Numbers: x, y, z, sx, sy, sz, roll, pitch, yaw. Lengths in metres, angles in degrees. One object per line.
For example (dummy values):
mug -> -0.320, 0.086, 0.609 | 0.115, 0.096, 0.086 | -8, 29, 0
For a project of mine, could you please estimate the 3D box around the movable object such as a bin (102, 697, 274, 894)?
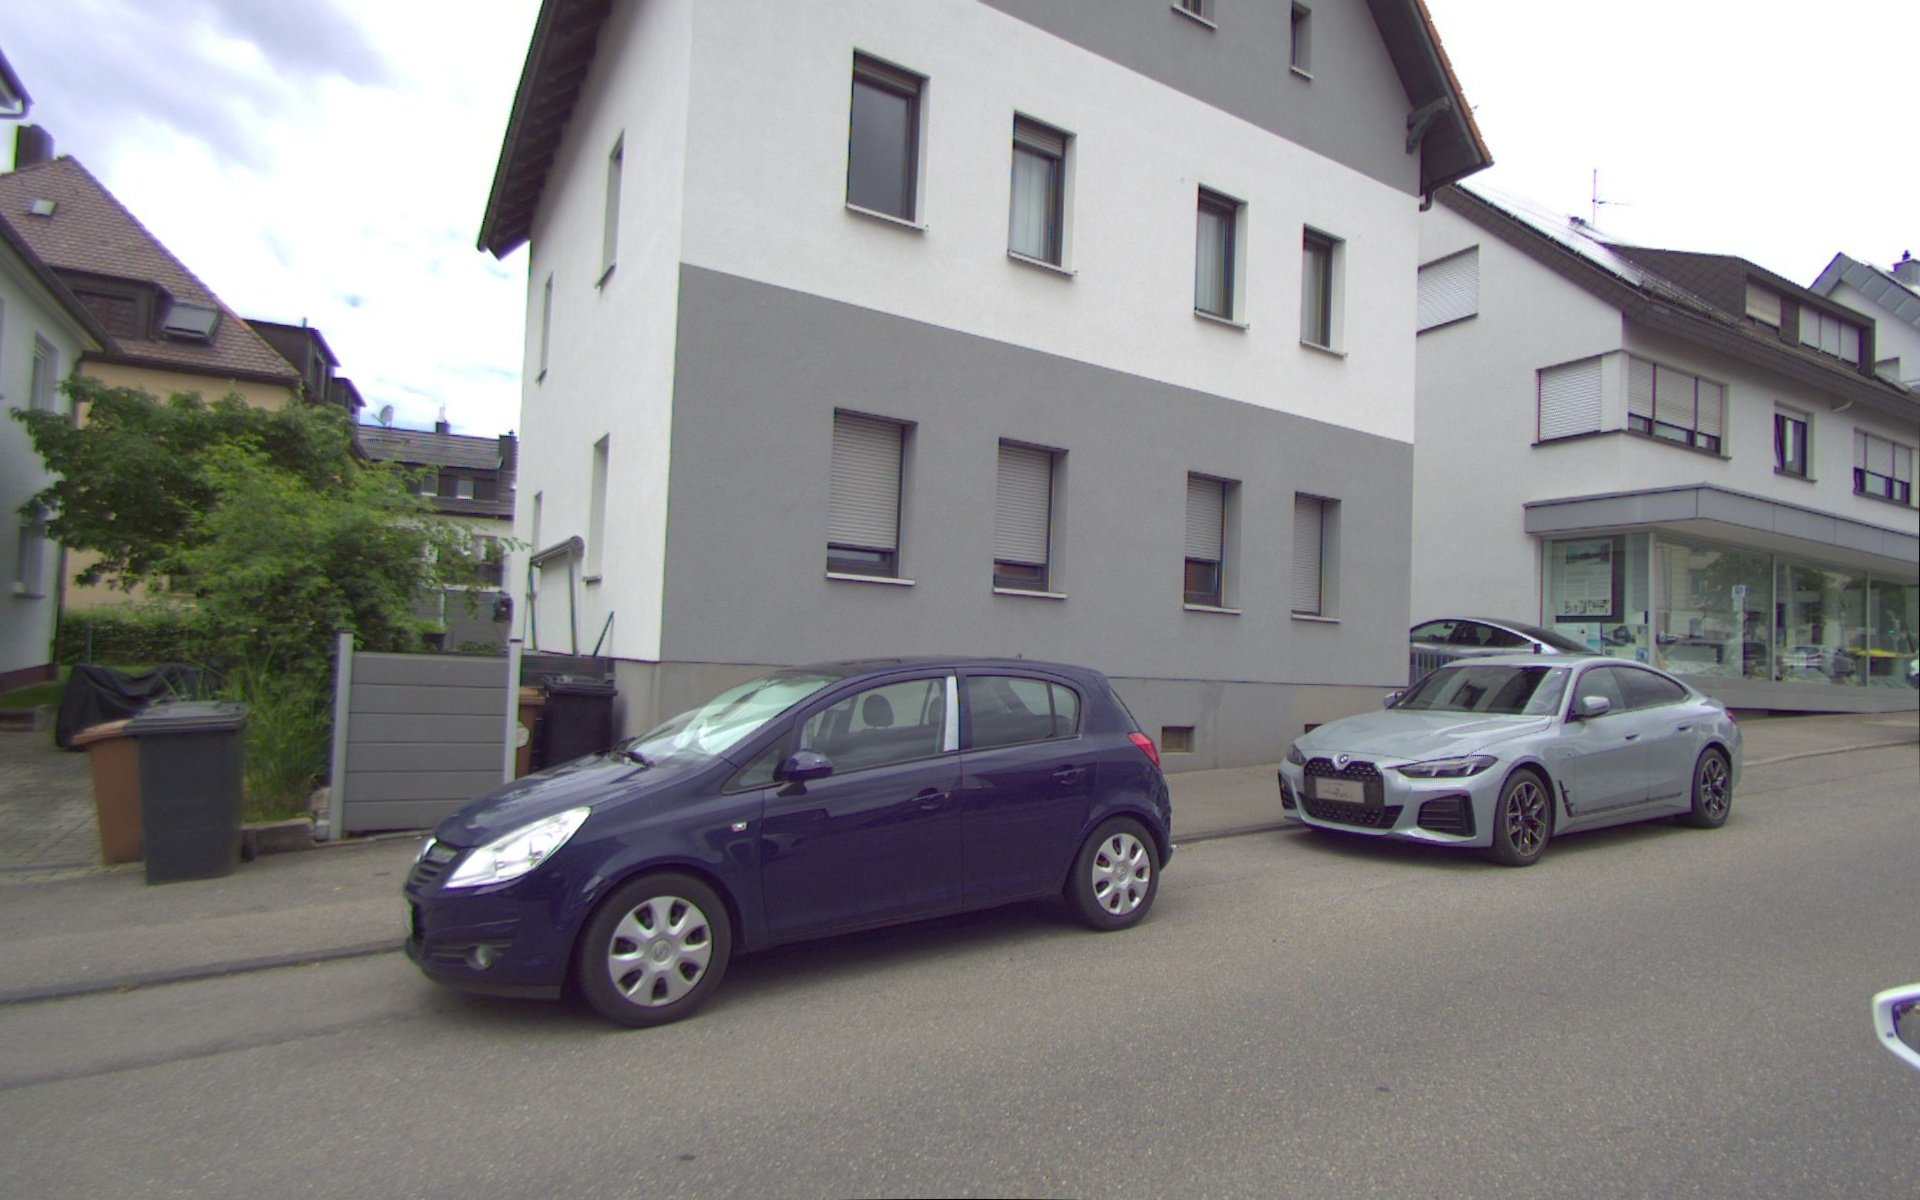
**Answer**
movable object such as a bin -> -4.799, 1.180, 6.299 | 0.750, 1.059, 0.673 | 2, 0, -31

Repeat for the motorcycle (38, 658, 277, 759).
motorcycle -> -9.891, 1.287, 12.468 | 0.762, 1.062, 2.220 | 2, 0, 42

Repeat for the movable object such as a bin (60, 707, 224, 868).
movable object such as a bin -> -5.569, 1.250, 6.891 | 0.750, 0.903, 0.673 | -1, 2, -31

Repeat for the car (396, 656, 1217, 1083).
car -> -0.690, 1.051, 5.391 | 3.958, 1.464, 1.827 | 2, -4, -33

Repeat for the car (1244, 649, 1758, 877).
car -> 4.634, 1.159, 8.441 | 4.418, 1.464, 1.828 | 2, -4, -32

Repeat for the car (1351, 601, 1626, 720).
car -> 9.370, 1.060, 18.149 | 1.975, 1.880, 3.972 | 2, -3, -28

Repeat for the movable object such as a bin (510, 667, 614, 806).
movable object such as a bin -> -3.595, 1.197, 9.051 | 0.755, 1.127, 0.722 | 2, 0, -30

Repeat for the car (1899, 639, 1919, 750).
car -> 16.461, 1.415, 15.393 | 4.357, 1.654, 1.829 | 2, -4, -31
